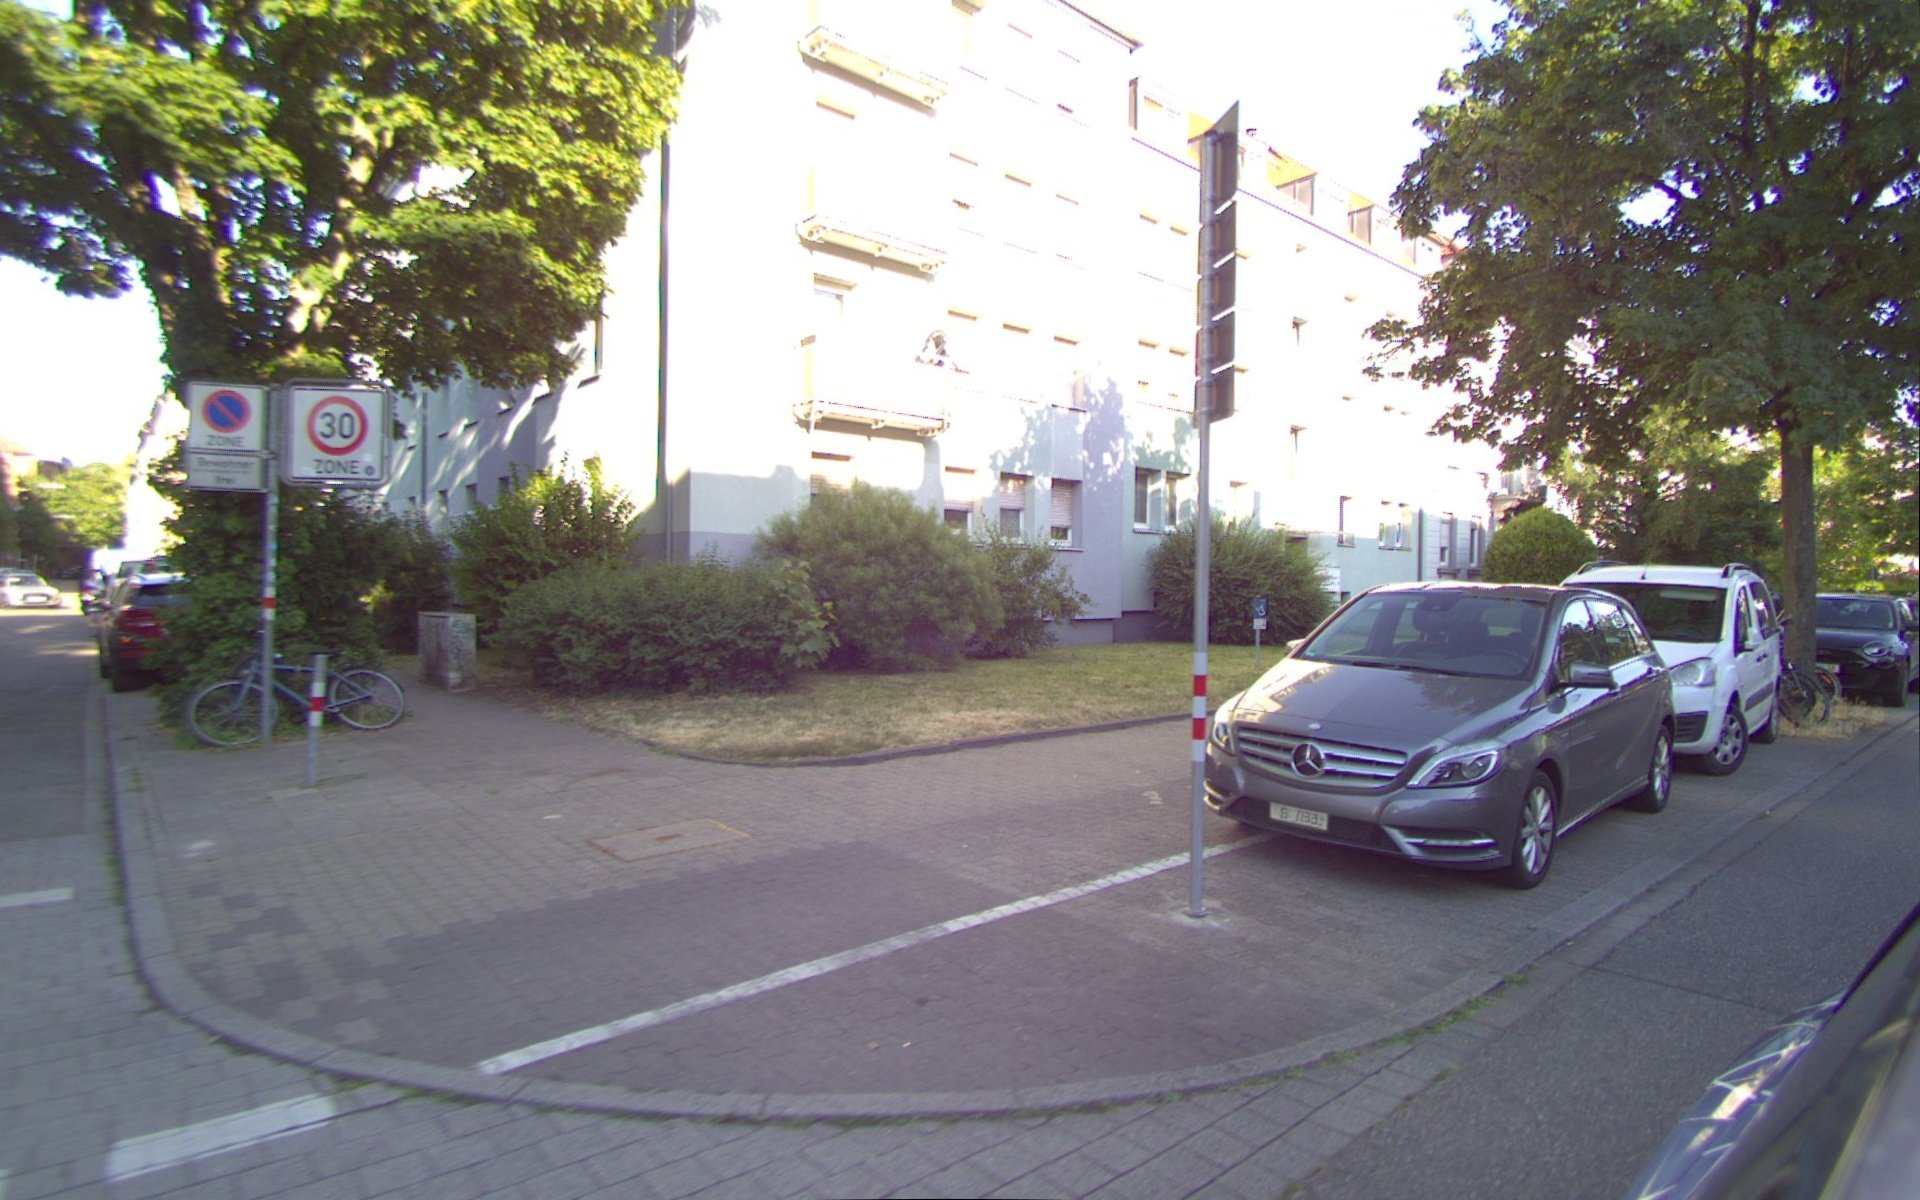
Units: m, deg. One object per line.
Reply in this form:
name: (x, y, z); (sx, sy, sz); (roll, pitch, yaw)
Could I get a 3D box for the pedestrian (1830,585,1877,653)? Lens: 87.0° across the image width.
pedestrian: (23.425, 0.480, 26.536); (0.792, 1.722, 0.790); (-1, 1, -36)

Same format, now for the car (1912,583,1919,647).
car: (26.300, 0.384, 26.427); (4.025, 1.621, 1.721); (-1, 2, -42)

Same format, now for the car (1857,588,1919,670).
car: (19.296, 0.541, 20.194); (3.890, 1.484, 1.616); (-1, 3, -42)

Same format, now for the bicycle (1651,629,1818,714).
bicycle: (9.181, 0.824, 12.043); (1.551, 0.880, 0.387); (2, 1, 41)

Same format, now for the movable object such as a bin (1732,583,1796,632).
movable object such as a bin: (26.307, 0.219, 33.121); (1.116, 1.510, 1.273); (0, 3, -31)

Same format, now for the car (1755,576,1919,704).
car: (13.868, 0.498, 15.513); (4.176, 1.683, 1.758); (-1, 2, -40)

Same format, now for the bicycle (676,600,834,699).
bicycle: (-2.170, 0.496, 10.851); (1.651, 0.956, 0.475); (-1, 2, -42)

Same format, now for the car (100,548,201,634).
car: (-21.182, -0.209, 26.460); (1.930, 2.037, 4.246); (0, 0, -40)

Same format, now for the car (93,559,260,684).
car: (-11.696, 0.279, 14.994); (1.729, 1.576, 4.244); (0, 0, -41)

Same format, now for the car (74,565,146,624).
car: (-26.543, -0.152, 31.585); (1.631, 1.711, 3.646); (0, 0, -41)

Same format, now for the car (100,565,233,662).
car: (-14.693, 0.230, 18.664); (1.729, 1.576, 4.244); (0, 0, -41)

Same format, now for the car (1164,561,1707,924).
car: (3.293, 0.590, 6.564); (4.181, 1.576, 1.756); (-1, 3, -44)

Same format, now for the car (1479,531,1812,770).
car: (6.875, 0.372, 9.949); (4.350, 1.831, 1.802); (-1, 0, -43)

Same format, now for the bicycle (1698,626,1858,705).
bicycle: (10.450, 0.813, 12.971); (0.387, 0.880, 1.554); (0, 2, -43)
